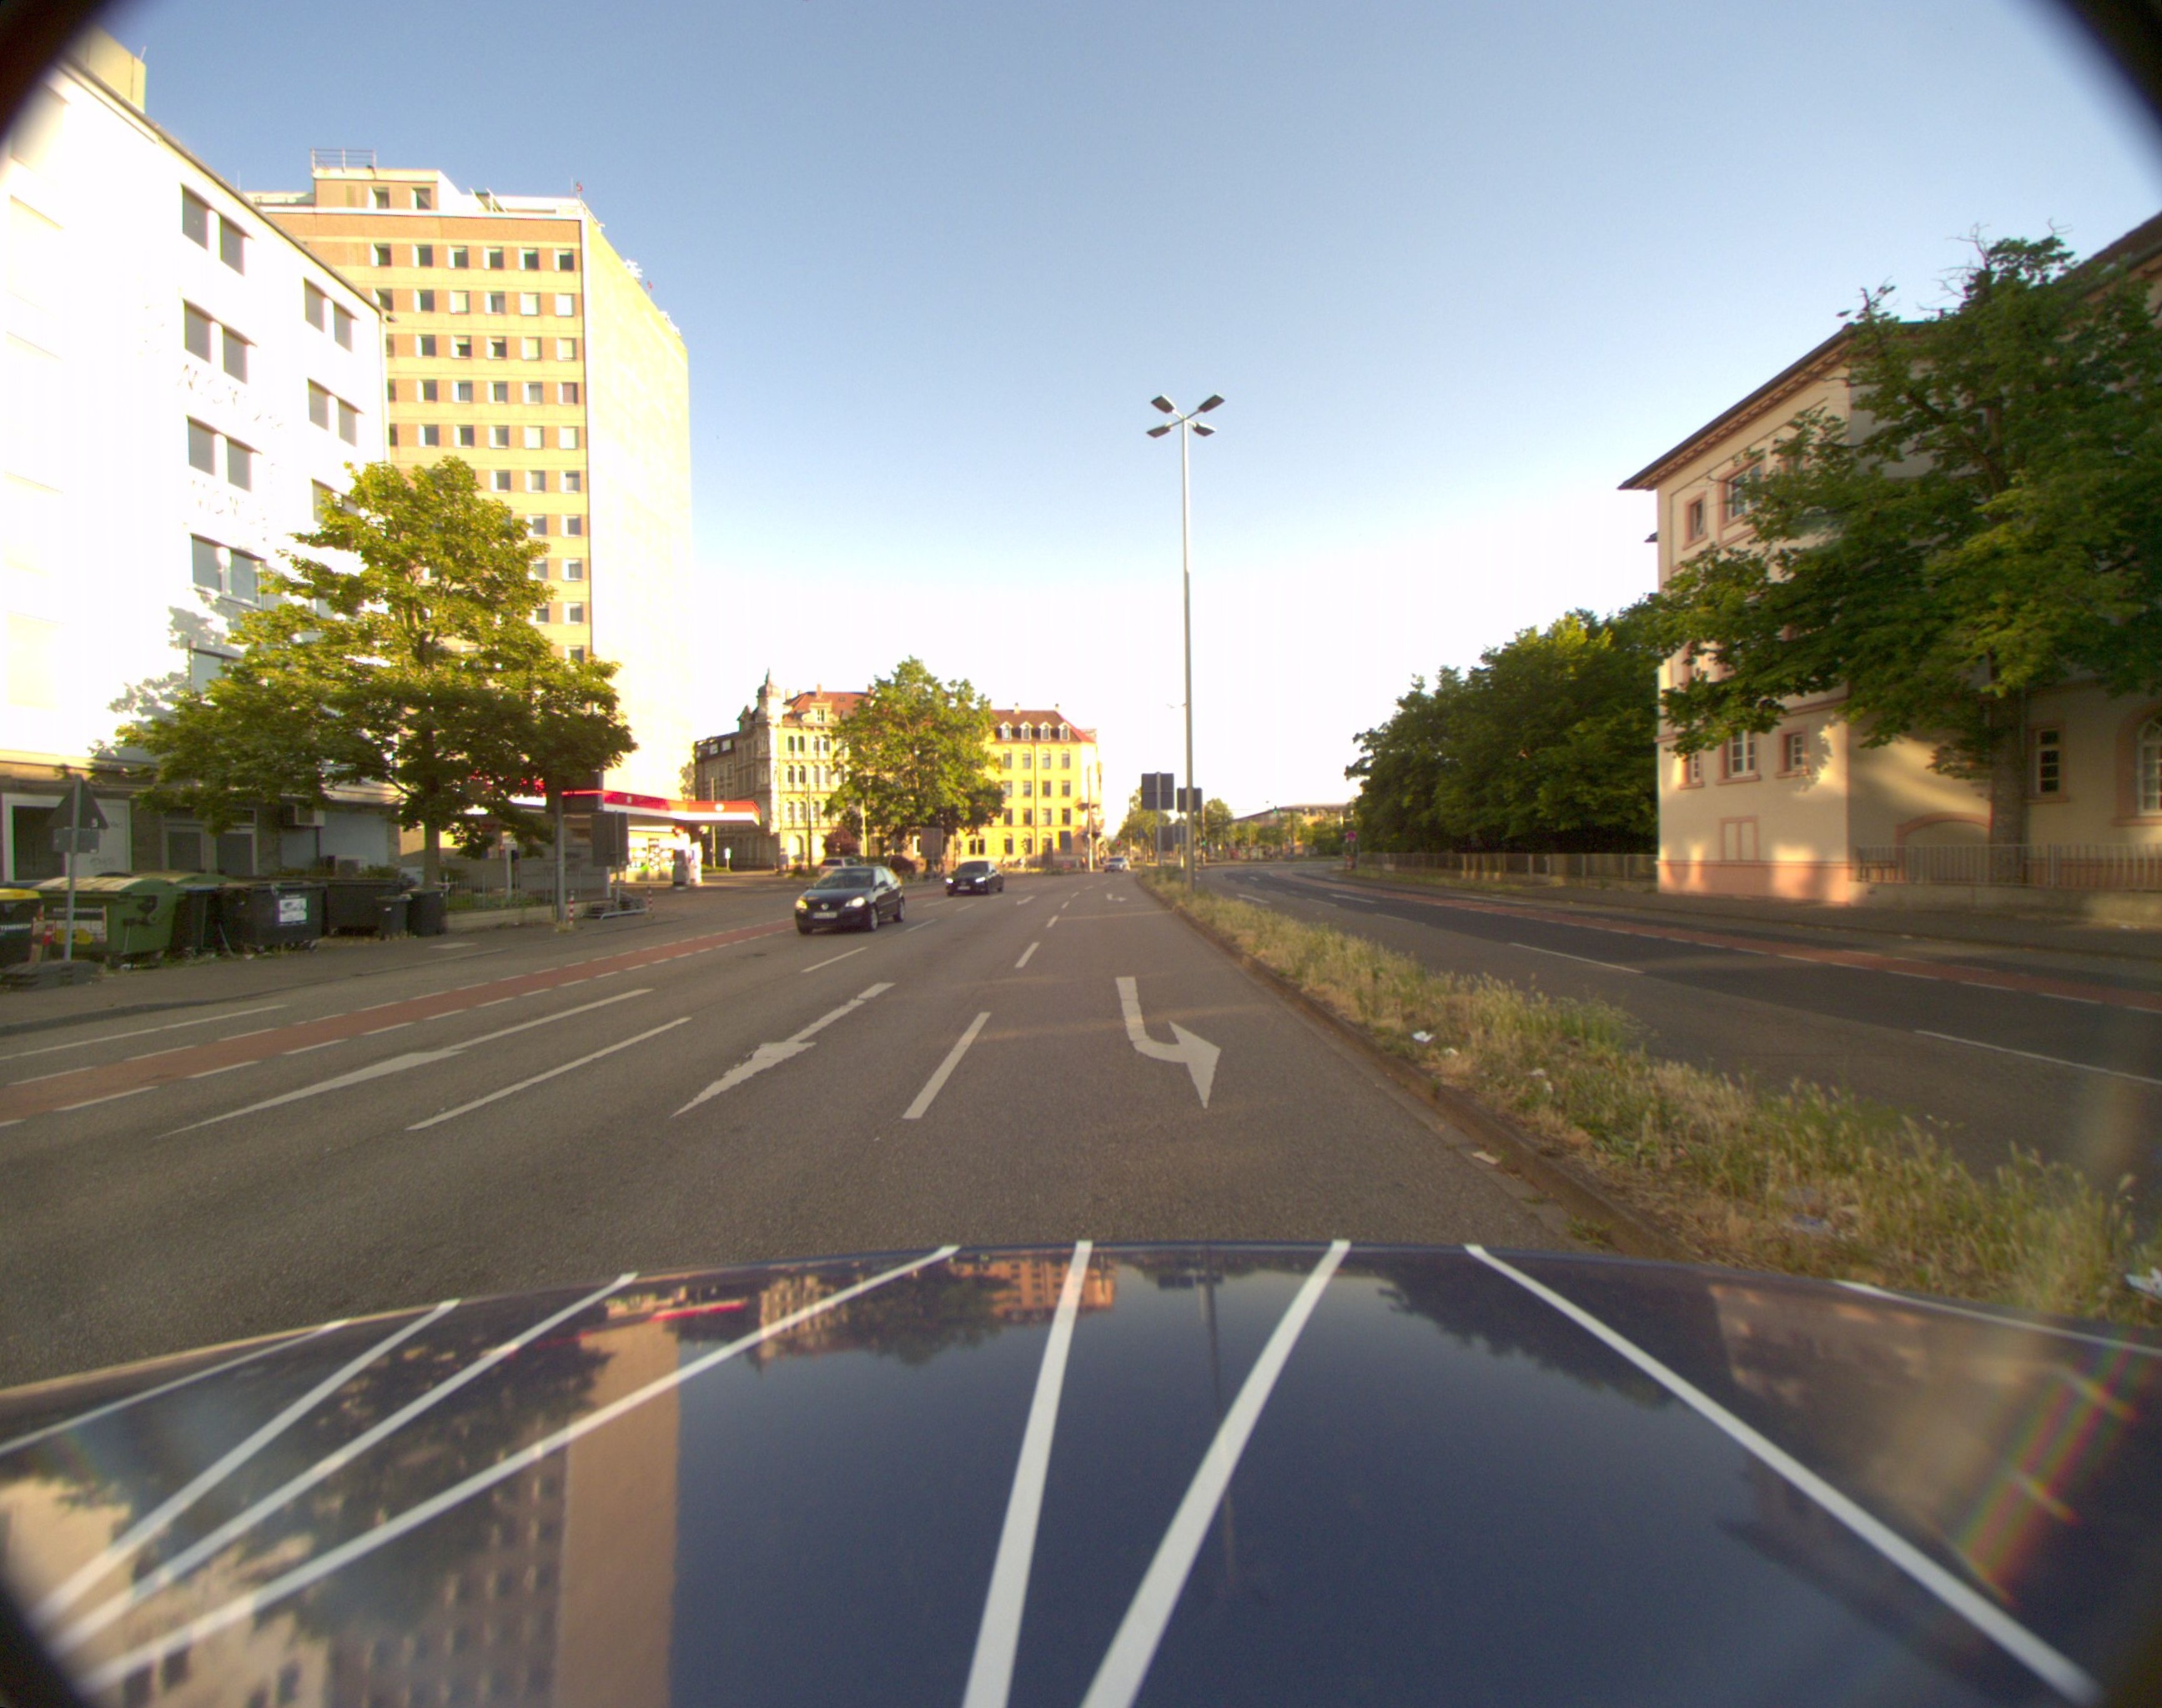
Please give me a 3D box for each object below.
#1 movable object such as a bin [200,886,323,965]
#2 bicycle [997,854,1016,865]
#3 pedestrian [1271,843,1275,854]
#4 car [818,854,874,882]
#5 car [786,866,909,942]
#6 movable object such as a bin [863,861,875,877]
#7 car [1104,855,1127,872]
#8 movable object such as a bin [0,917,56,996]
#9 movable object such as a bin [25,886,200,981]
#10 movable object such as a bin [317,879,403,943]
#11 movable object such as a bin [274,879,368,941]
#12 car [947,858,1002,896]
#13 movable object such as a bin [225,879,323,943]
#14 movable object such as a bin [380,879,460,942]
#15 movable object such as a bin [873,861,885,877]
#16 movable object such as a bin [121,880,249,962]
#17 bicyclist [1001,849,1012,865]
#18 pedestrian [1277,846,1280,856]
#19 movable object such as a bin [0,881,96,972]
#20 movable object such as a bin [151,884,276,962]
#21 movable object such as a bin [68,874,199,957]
[{"bbox_3d":[-14.942,1.278,13.901,0.956,1.320,1.162,-1,1,-2],"label":"movable object such as a bin"},{"bbox_3d":[-7.628,0.592,77.867,1.927,1.053,0.451,-1,1,-7],"label":"bicycle"},{"bbox_3d":[34.402,-0.933,136.446,0.556,2.002,0.664,-1,1,1],"label":"pedestrian"},{"bbox_3d":[-13.953,0.816,45.275,1.688,1.508,3.797,-1,1,8],"label":"car"},{"bbox_3d":[-5.280,1.070,17.692,1.584,1.441,3.872,-2,0,1],"label":"car"},{"bbox_3d":[-13.867,0.985,49.765,0.544,1.013,0.688,-1,1,5],"label":"movable object such as a bin"},{"bbox_3d":[3.113,0.859,68.709,1.674,1.410,4.442,-2,0,7],"label":"car"},{"bbox_3d":[-15.513,1.461,10.746,0.853,1.039,0.819,-1,1,-4],"label":"movable object such as a bin"},{"bbox_3d":[-15.812,1.263,12.459,1.351,1.415,1.105,-1,1,-4],"label":"movable object such as a bin"},{"bbox_3d":[-15.829,1.241,16.710,0.956,1.320,0.953,-1,1,-2],"label":"movable object such as a bin"},{"bbox_3d":[-16.932,1.234,16.960,0.956,1.276,1.098,-1,1,-2],"label":"movable object such as a bin"},{"bbox_3d":[-4.566,0.960,33.062,1.731,1.441,4.045,-2,0,1],"label":"car"},{"bbox_3d":[-17.930,1.247,16.916,0.956,1.320,1.098,-1,1,-2],"label":"movable object such as a bin"},{"bbox_3d":[-14.880,1.254,17.136,0.956,1.320,0.953,-1,1,-2],"label":"movable object such as a bin"},{"bbox_3d":[-13.147,0.970,49.554,0.544,1.013,0.688,-1,1,5],"label":"movable object such as a bin"},{"bbox_3d":[-17.123,1.250,14.564,1.034,1.440,1.162,-1,1,-2],"label":"movable object such as a bin"},{"bbox_3d":[-7.624,0.325,77.925,1.065,1.639,0.732,-1,1,-7],"label":"bicyclist"},{"bbox_3d":[34.922,-0.549,134.450,0.467,1.695,0.419,-1,1,1],"label":"pedestrian"},{"bbox_3d":[-18.690,1.259,13.405,1.034,1.490,1.162,-1,1,-2],"label":"movable object such as a bin"},{"bbox_3d":[-16.040,1.248,14.094,0.956,1.320,1.162,-1,1,-2],"label":"movable object such as a bin"},{"bbox_3d":[-18.299,1.162,14.717,1.034,1.490,1.162,-1,1,-2],"label":"movable object such as a bin"}]
